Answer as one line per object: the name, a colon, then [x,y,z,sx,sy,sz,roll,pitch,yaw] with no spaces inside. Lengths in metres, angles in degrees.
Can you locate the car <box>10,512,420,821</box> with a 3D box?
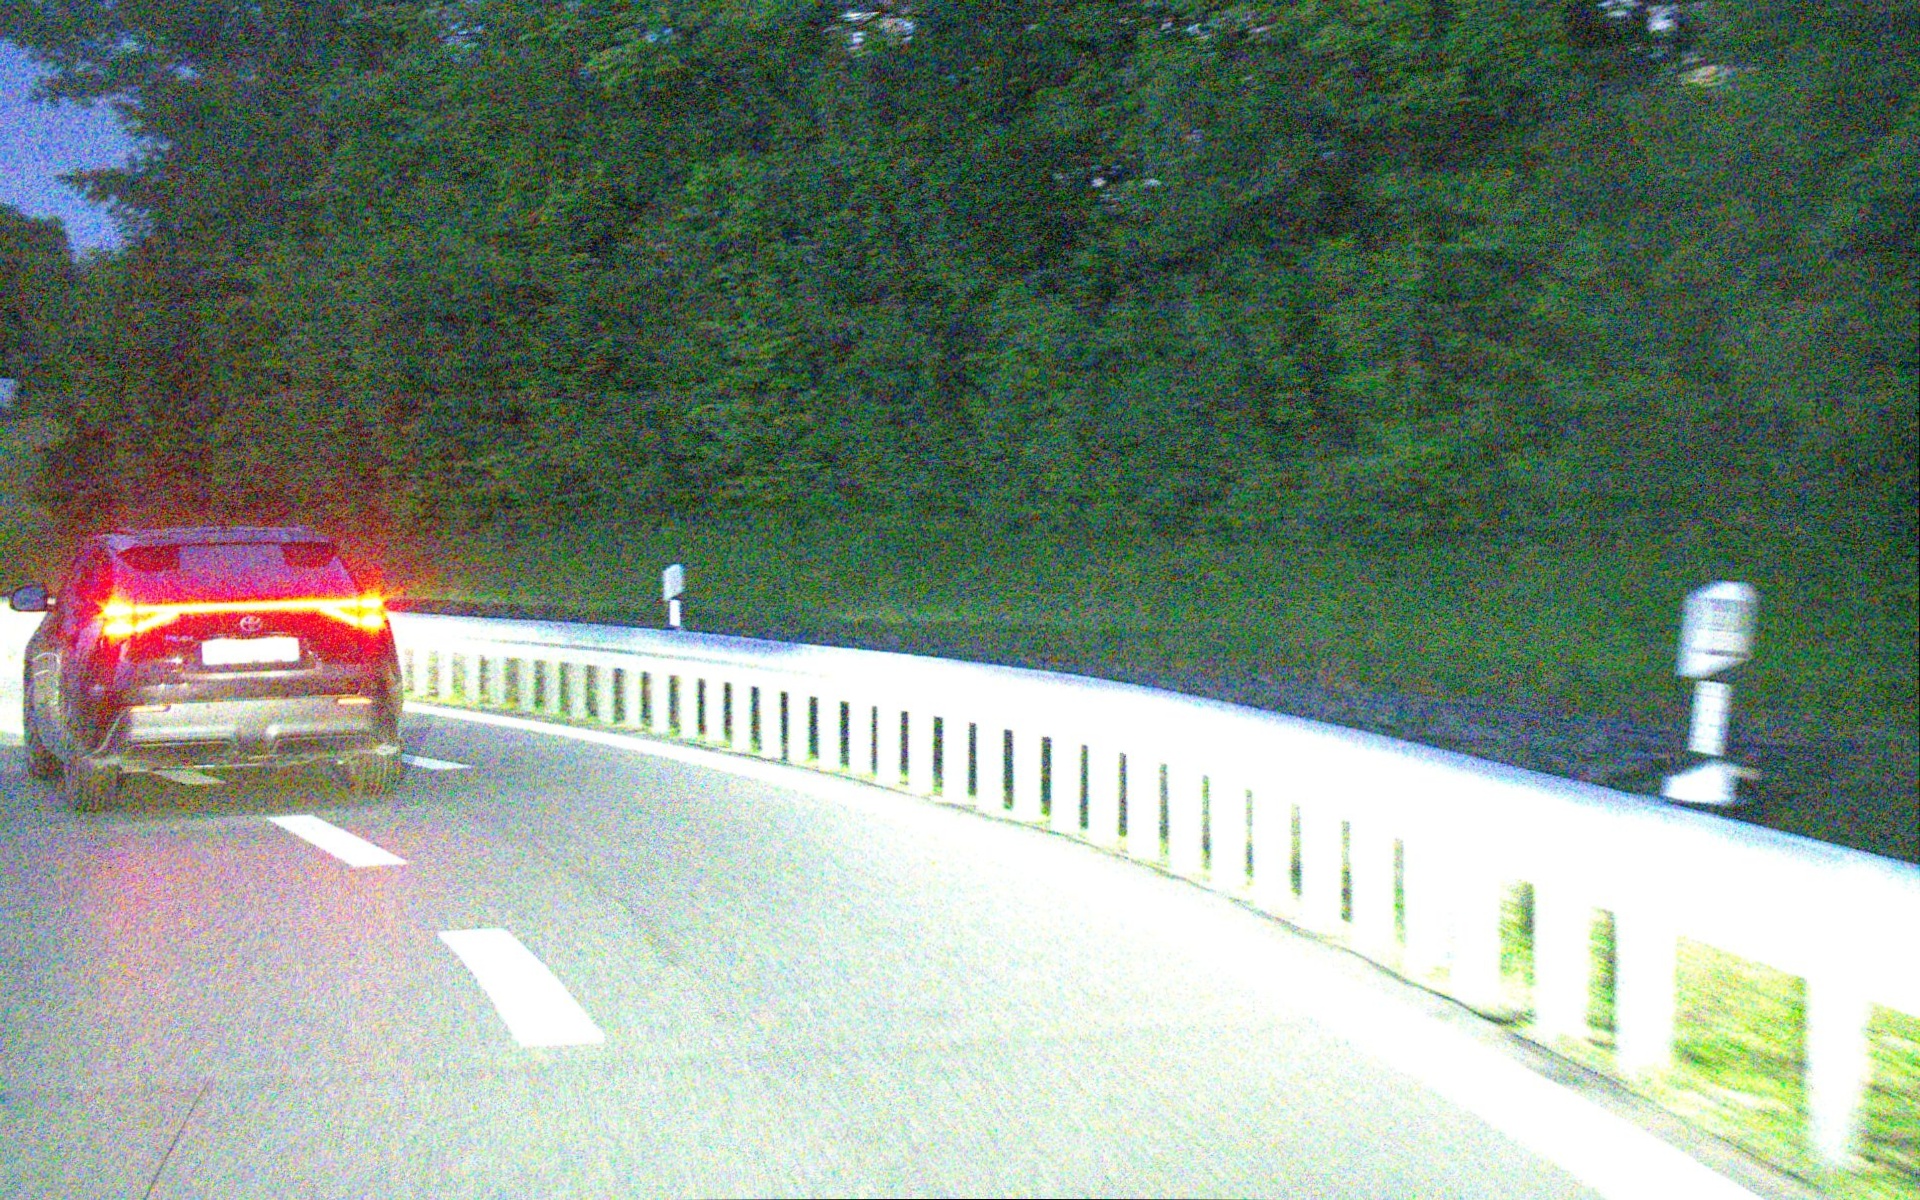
car: [-4.606,0.328,20.771,1.993,1.653,4.316,0,1,-18]
